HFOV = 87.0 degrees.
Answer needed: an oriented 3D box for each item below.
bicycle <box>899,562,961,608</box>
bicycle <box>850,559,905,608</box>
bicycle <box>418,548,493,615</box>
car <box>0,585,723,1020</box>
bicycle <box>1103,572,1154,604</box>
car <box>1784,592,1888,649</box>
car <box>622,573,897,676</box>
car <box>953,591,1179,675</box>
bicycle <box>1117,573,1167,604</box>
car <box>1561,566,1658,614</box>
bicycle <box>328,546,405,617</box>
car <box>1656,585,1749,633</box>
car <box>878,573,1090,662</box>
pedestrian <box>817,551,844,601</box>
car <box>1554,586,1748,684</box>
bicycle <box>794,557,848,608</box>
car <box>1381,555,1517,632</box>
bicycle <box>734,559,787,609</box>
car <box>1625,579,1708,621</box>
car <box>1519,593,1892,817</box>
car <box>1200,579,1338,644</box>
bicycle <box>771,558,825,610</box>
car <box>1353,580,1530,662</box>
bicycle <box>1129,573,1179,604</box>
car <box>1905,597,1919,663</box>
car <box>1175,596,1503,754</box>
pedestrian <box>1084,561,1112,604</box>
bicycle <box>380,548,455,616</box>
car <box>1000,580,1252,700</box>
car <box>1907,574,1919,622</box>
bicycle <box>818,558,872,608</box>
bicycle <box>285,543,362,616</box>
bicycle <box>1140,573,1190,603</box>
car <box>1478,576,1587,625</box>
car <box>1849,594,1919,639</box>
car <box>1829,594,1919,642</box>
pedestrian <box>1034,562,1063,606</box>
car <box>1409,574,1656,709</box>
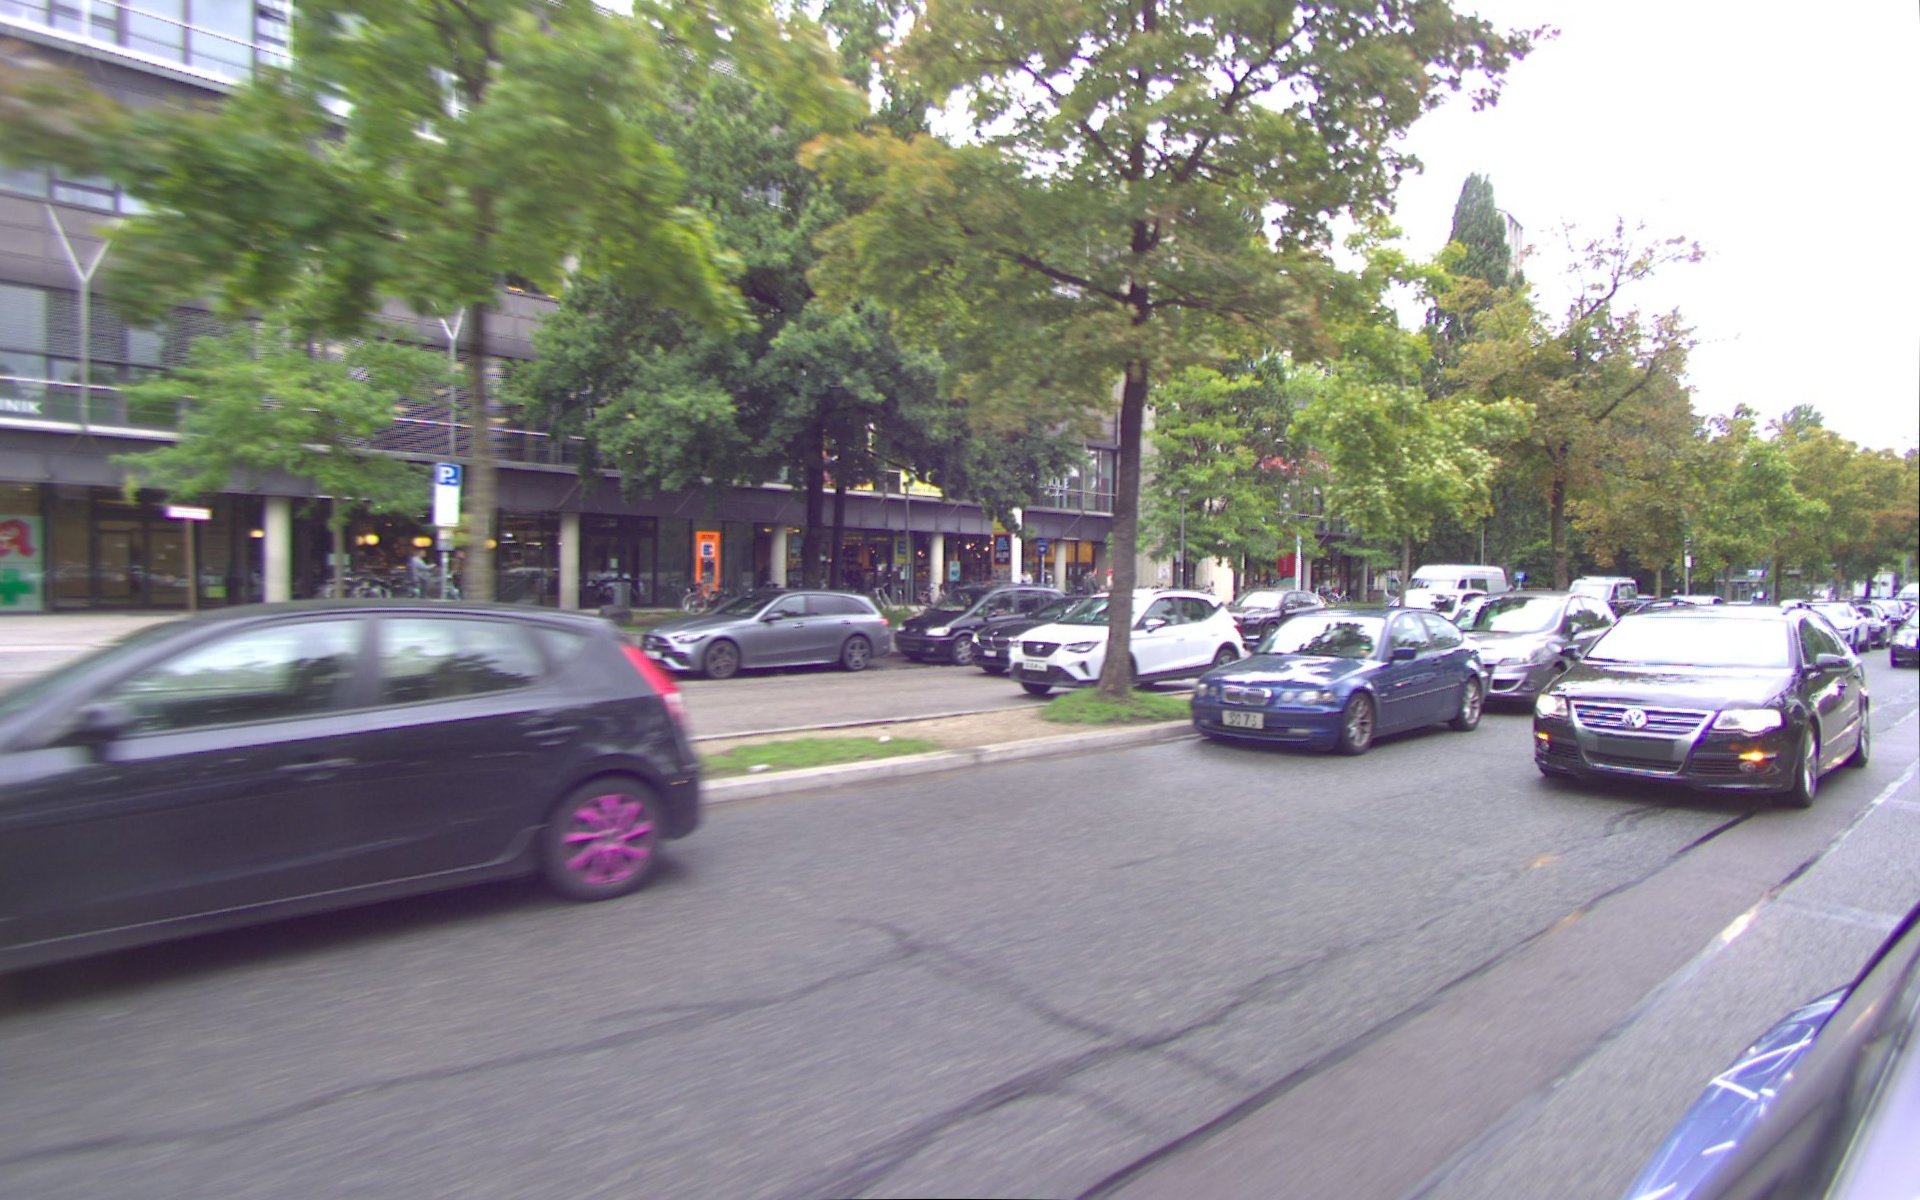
[{"bbox_3d":[-1.107,-0.564,36.984,2.298,1.643,0.642,2,1,34],"label":"bicycle"},{"bbox_3d":[-2.867,-0.591,34.871,0.638,1.643,2.312,0,1,-40],"label":"bicycle"},{"bbox_3d":[-12.892,-0.492,25.847,2.298,1.643,0.642,2,1,33],"label":"bicycle"},{"bbox_3d":[-3.257,0.680,4.558,3.974,1.467,1.698,0,0,-43],"label":"car"},{"bbox_3d":[7.261,-0.520,43.700,0.637,1.318,2.313,0,1,-39],"label":"bicycle"},{"bbox_3d":[25.261,0.531,29.124,4.366,1.526,1.733,0,0,-42],"label":"car"},{"bbox_3d":[-3.433,0.376,17.967,4.527,1.550,1.823,1,2,-45],"label":"car"},{"bbox_3d":[2.061,0.533,18.936,4.274,1.397,1.725,-1,0,-40],"label":"car"},{"bbox_3d":[7.943,-0.529,44.286,0.664,1.318,2.313,0,1,-39],"label":"bicycle"},{"bbox_3d":[30.602,-0.463,47.590,5.755,2.130,2.267,0,1,-41],"label":"car"},{"bbox_3d":[-14.361,-0.468,24.459,2.298,1.643,0.642,2,1,33],"label":"bicycle"},{"bbox_3d":[26.040,0.290,35.451,3.984,1.562,1.825,0,0,-41],"label":"car"},{"bbox_3d":[0.582,0.301,21.453,4.423,1.654,1.825,0,2,-42],"label":"car"},{"bbox_3d":[-4.927,-0.919,38.469,0.724,1.827,0.660,4,3,33],"label":"pedestrian"},{"bbox_3d":[12.350,0.567,17.988,4.385,1.542,1.685,0,-2,-40],"label":"car"},{"bbox_3d":[-4.634,-0.606,33.683,0.638,1.643,2.312,0,1,-40],"label":"bicycle"},{"bbox_3d":[17.649,-0.259,36.385,5.755,2.560,2.267,0,1,-41],"label":"car"},{"bbox_3d":[-6.437,-0.535,32.583,0.638,1.551,2.312,0,1,-40],"label":"bicycle"},{"bbox_3d":[37.833,-0.044,54.127,5.755,2.130,2.267,0,1,-41],"label":"car"},{"bbox_3d":[6.535,0.671,8.668,4.366,1.451,1.733,0,0,-42],"label":"car"},{"bbox_3d":[8.742,0.274,28.435,4.270,1.654,1.861,-1,2,-44],"label":"car"},{"bbox_3d":[-5.320,-0.546,33.121,0.638,1.643,2.312,0,1,-40],"label":"bicycle"},{"bbox_3d":[10.630,0.396,22.186,4.792,1.611,1.824,0,0,-42],"label":"car"},{"bbox_3d":[8.565,-0.538,44.842,0.637,1.318,2.313,0,1,-39],"label":"bicycle"},{"bbox_3d":[22.915,0.638,22.970,4.385,1.431,1.761,0,0,-42],"label":"car"},{"bbox_3d":[4.212,0.661,10.942,4.011,1.392,1.684,0,0,-42],"label":"car"},{"bbox_3d":[5.576,-0.720,40.849,0.755,1.719,0.876,-1,2,-26],"label":"pedestrian"},{"bbox_3d":[-13.589,-0.475,25.311,2.298,1.643,0.642,2,1,33],"label":"bicycle"},{"bbox_3d":[2.532,0.506,14.939,3.810,1.538,1.653,0,0,-42],"label":"car"},{"bbox_3d":[57.474,-0.125,57.665,5.882,2.691,1.983,0,0,-10],"label":"car"},{"bbox_3d":[-3.911,-0.585,34.204,0.638,1.643,2.312,0,1,-40],"label":"bicycle"},{"bbox_3d":[-14.964,-0.490,23.763,2.298,1.643,0.642,2,1,33],"label":"bicycle"},{"bbox_3d":[9.146,-0.550,45.332,0.637,1.318,2.313,0,1,-39],"label":"bicycle"},{"bbox_3d":[23.412,-0.006,41.291,5.087,1.834,2.267,0,1,-41],"label":"car"},{"bbox_3d":[33.674,0.537,36.650,4.366,1.535,1.733,0,0,-42],"label":"car"},{"bbox_3d":[29.695,0.539,32.833,4.366,1.451,1.733,0,0,-42],"label":"car"},{"bbox_3d":[3.459,-0.643,39.750,0.856,1.719,0.772,-1,2,-26],"label":"pedestrian"},{"bbox_3d":[8.312,0.522,14.534,4.387,1.662,1.684,0,-2,-41],"label":"car"}]
